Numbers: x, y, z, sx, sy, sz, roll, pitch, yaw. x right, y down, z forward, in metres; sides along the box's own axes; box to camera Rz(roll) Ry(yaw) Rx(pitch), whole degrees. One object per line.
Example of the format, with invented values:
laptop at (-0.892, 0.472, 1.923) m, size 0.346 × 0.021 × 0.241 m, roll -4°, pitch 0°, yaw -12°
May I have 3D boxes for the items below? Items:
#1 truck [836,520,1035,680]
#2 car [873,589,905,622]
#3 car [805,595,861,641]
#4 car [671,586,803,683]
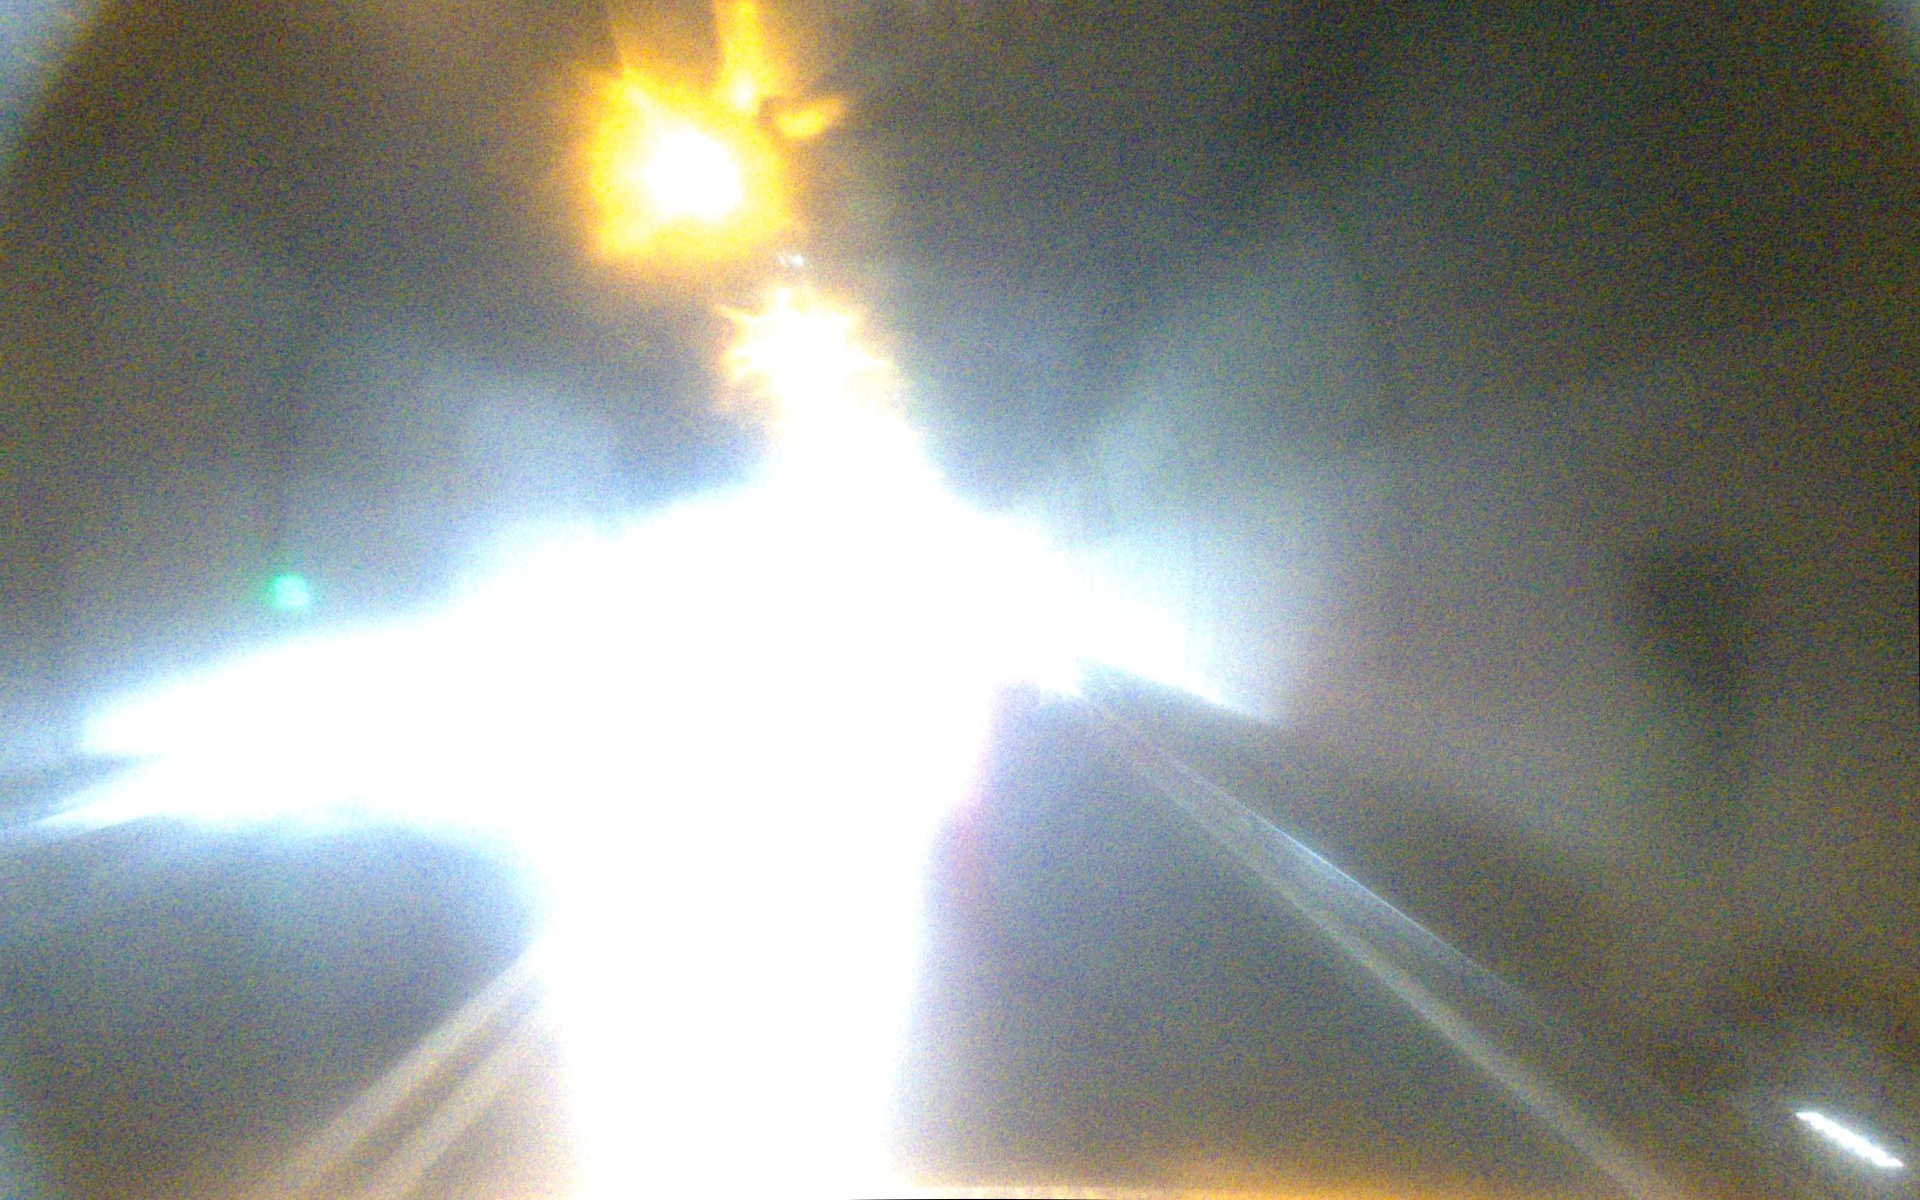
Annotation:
truck at (-0.493, -0.034, 34.093) m, size 3.463 × 2.740 × 8.954 m, roll -2°, pitch 0°, yaw -1°
car at (-3.995, 0.315, 93.506) m, size 1.694 × 1.823 × 3.931 m, roll -1°, pitch 0°, yaw -1°
car at (-4.339, 0.604, 57.048) m, size 1.724 × 1.506 × 3.885 m, roll -1°, pitch 0°, yaw -2°
car at (-3.629, 0.521, 27.497) m, size 1.700 × 1.466 × 3.836 m, roll -1°, pitch 1°, yaw -1°
